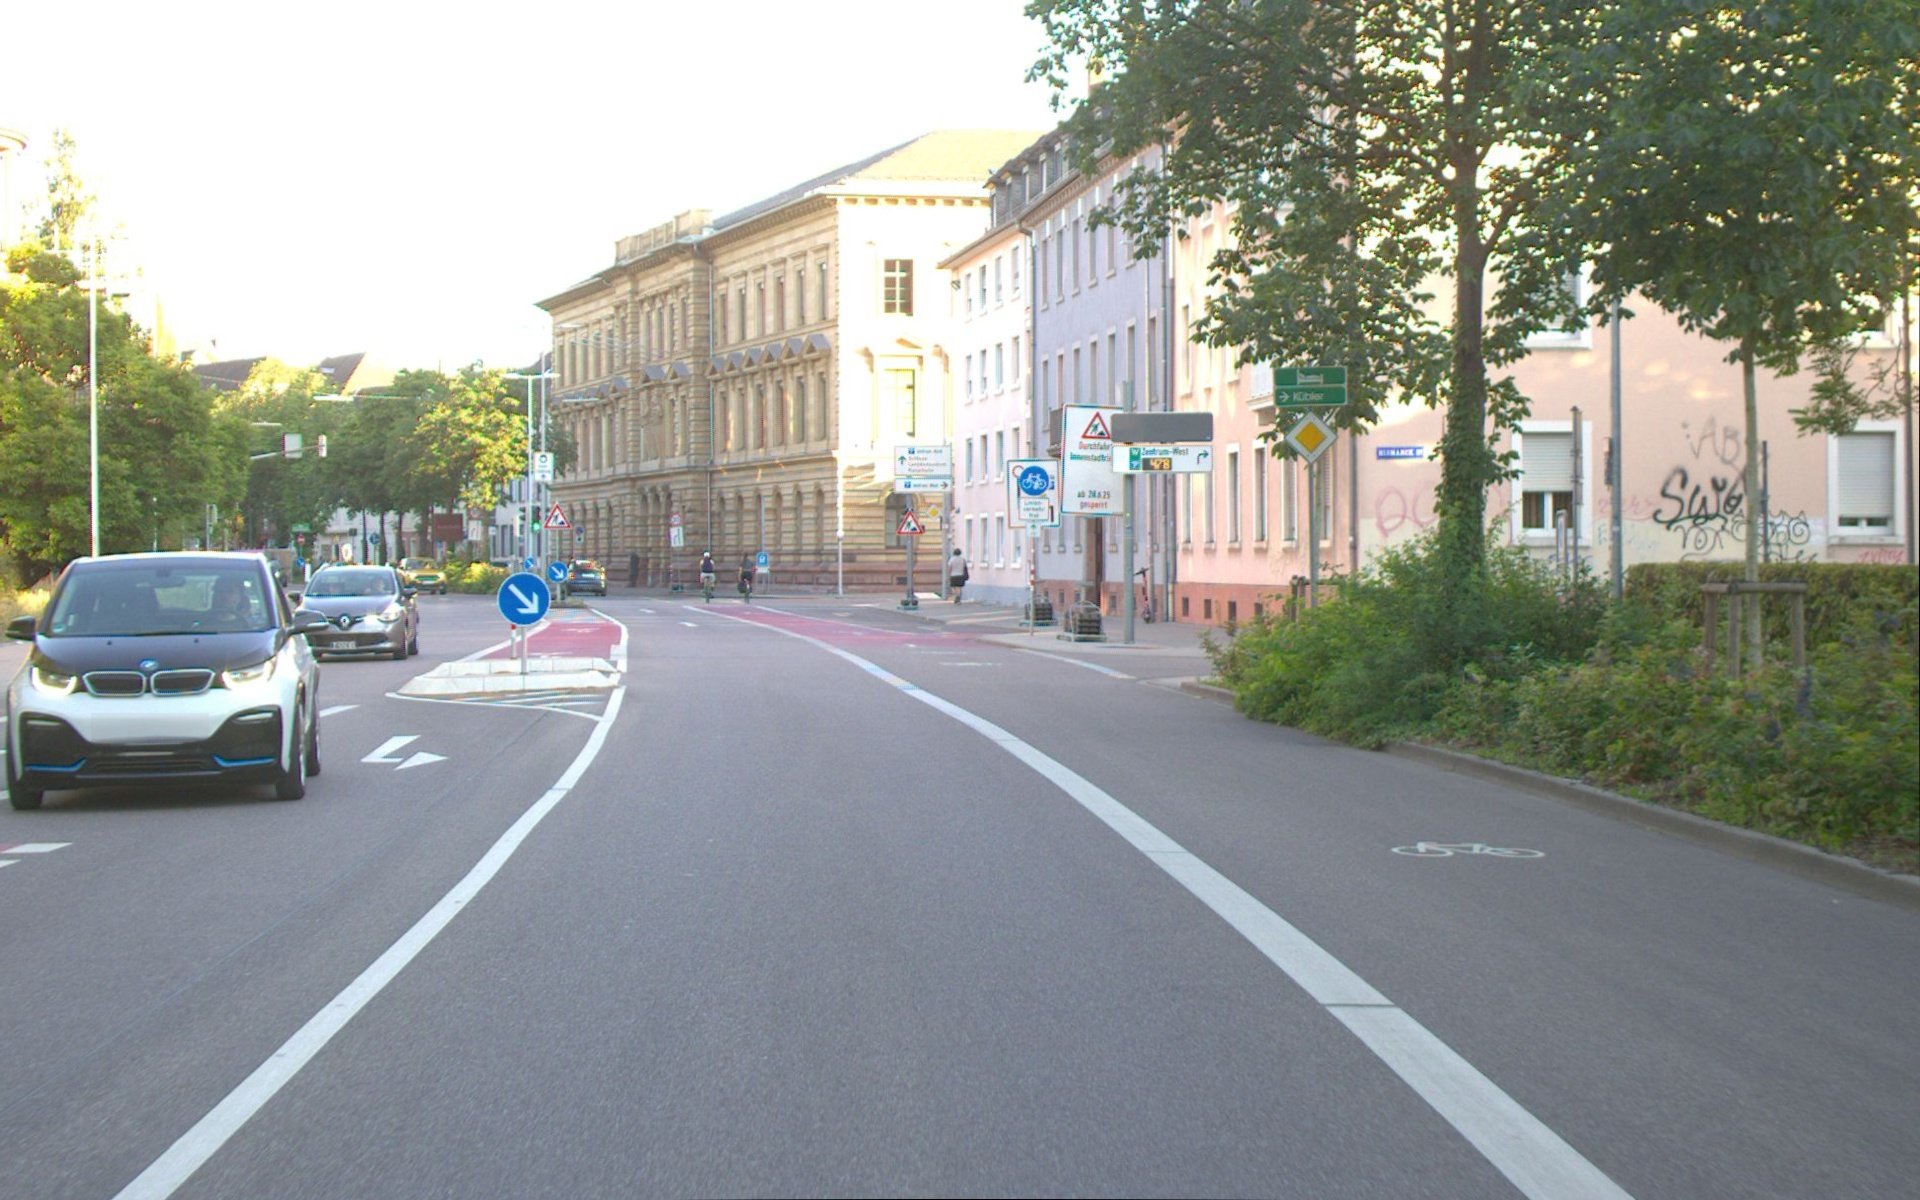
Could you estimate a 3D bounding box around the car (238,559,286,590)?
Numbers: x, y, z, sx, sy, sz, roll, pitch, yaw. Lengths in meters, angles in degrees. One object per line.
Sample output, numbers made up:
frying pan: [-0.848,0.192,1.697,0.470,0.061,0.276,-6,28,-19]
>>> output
car: [-36.883,-1.361,181.533,1.993,1.579,4.001,0,1,-18]

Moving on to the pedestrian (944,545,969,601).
pedestrian: [-0.120,-0.853,107.891,0.762,1.749,0.845,0,0,1]

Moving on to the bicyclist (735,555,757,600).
bicyclist: [-7.172,-0.759,115.121,0.652,1.470,0.941,2,1,-5]

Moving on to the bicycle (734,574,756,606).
bicycle: [-7.197,-0.326,115.123,0.652,1.012,2.198,2,1,-5]

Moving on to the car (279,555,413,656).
car: [-9.371,0.058,52.691,1.835,1.434,4.001,-2,1,-8]

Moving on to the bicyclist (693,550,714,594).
bicyclist: [-8.613,-0.954,115.334,0.652,1.441,0.879,2,1,-4]

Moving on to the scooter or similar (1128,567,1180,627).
scooter or similar: [4.343,-0.075,77.051,0.629,1.332,2.401,0,1,-10]

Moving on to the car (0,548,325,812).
car: [-5.186,0.444,22.420,1.848,1.521,4.001,-1,1,-8]

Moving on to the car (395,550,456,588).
car: [-22.506,-1.320,144.625,1.993,1.579,4.001,0,1,-17]

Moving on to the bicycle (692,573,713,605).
bicycle: [-8.631,-0.386,115.229,0.652,1.012,2.198,2,1,-4]

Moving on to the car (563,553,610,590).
car: [-15.517,-1.175,142.711,1.867,1.505,4.001,1,0,-6]
